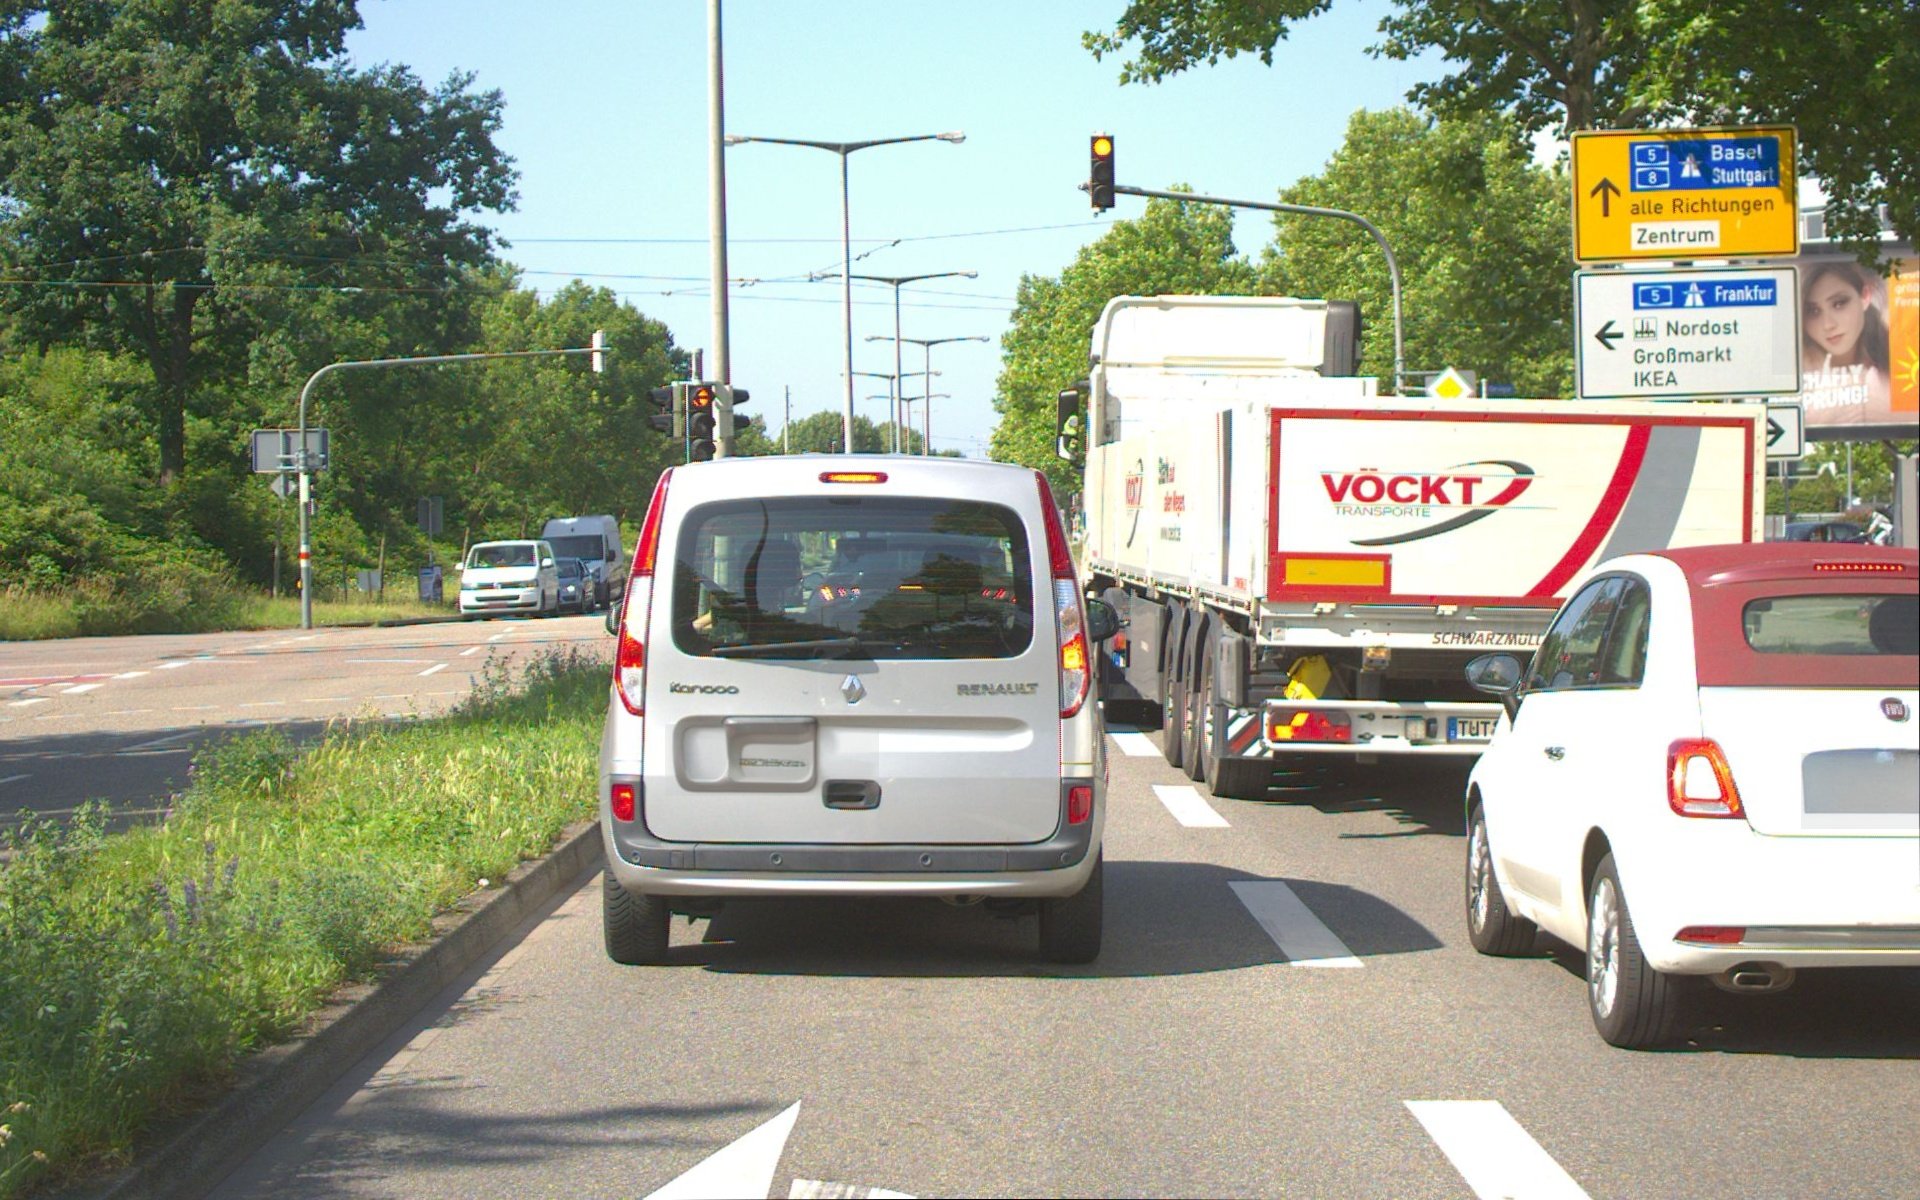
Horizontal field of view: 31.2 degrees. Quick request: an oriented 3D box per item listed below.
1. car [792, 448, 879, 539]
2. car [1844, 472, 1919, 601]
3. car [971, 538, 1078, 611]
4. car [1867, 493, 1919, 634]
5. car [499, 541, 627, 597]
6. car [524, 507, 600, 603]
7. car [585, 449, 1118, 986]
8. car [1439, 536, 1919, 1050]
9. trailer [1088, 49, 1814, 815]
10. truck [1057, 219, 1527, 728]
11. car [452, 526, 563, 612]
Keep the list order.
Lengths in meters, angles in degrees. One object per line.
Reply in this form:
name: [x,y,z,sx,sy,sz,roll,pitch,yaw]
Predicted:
car: [-2.883,-2.416,78.955,1.713,2.007,4.001,0,1,-6]
car: [13.722,-0.814,44.896,3.987,1.656,1.723,0,1,5]
car: [1.449,-0.596,79.106,1.993,1.634,4.001,0,1,-6]
car: [13.047,-0.427,41.133,3.987,1.656,1.723,0,1,5]
car: [-10.312,-0.816,89.138,1.911,1.404,4.228,0,1,-27]
car: [-11.187,-1.254,96.683,2.058,2.605,5.871,0,1,-7]
car: [-0.391,0.368,13.327,1.749,1.766,3.949,0,1,-1]
car: [2.640,0.522,11.363,1.661,1.431,3.520,0,1,1]
trailer: [2.627,-0.886,22.923,3.016,3.728,12.240,0,1,0]
truck: [2.562,-0.973,29.135,3.071,3.745,7.477,0,1,-1]
car: [-10.641,-0.738,81.191,1.993,1.884,4.988,-3,1,-1]
